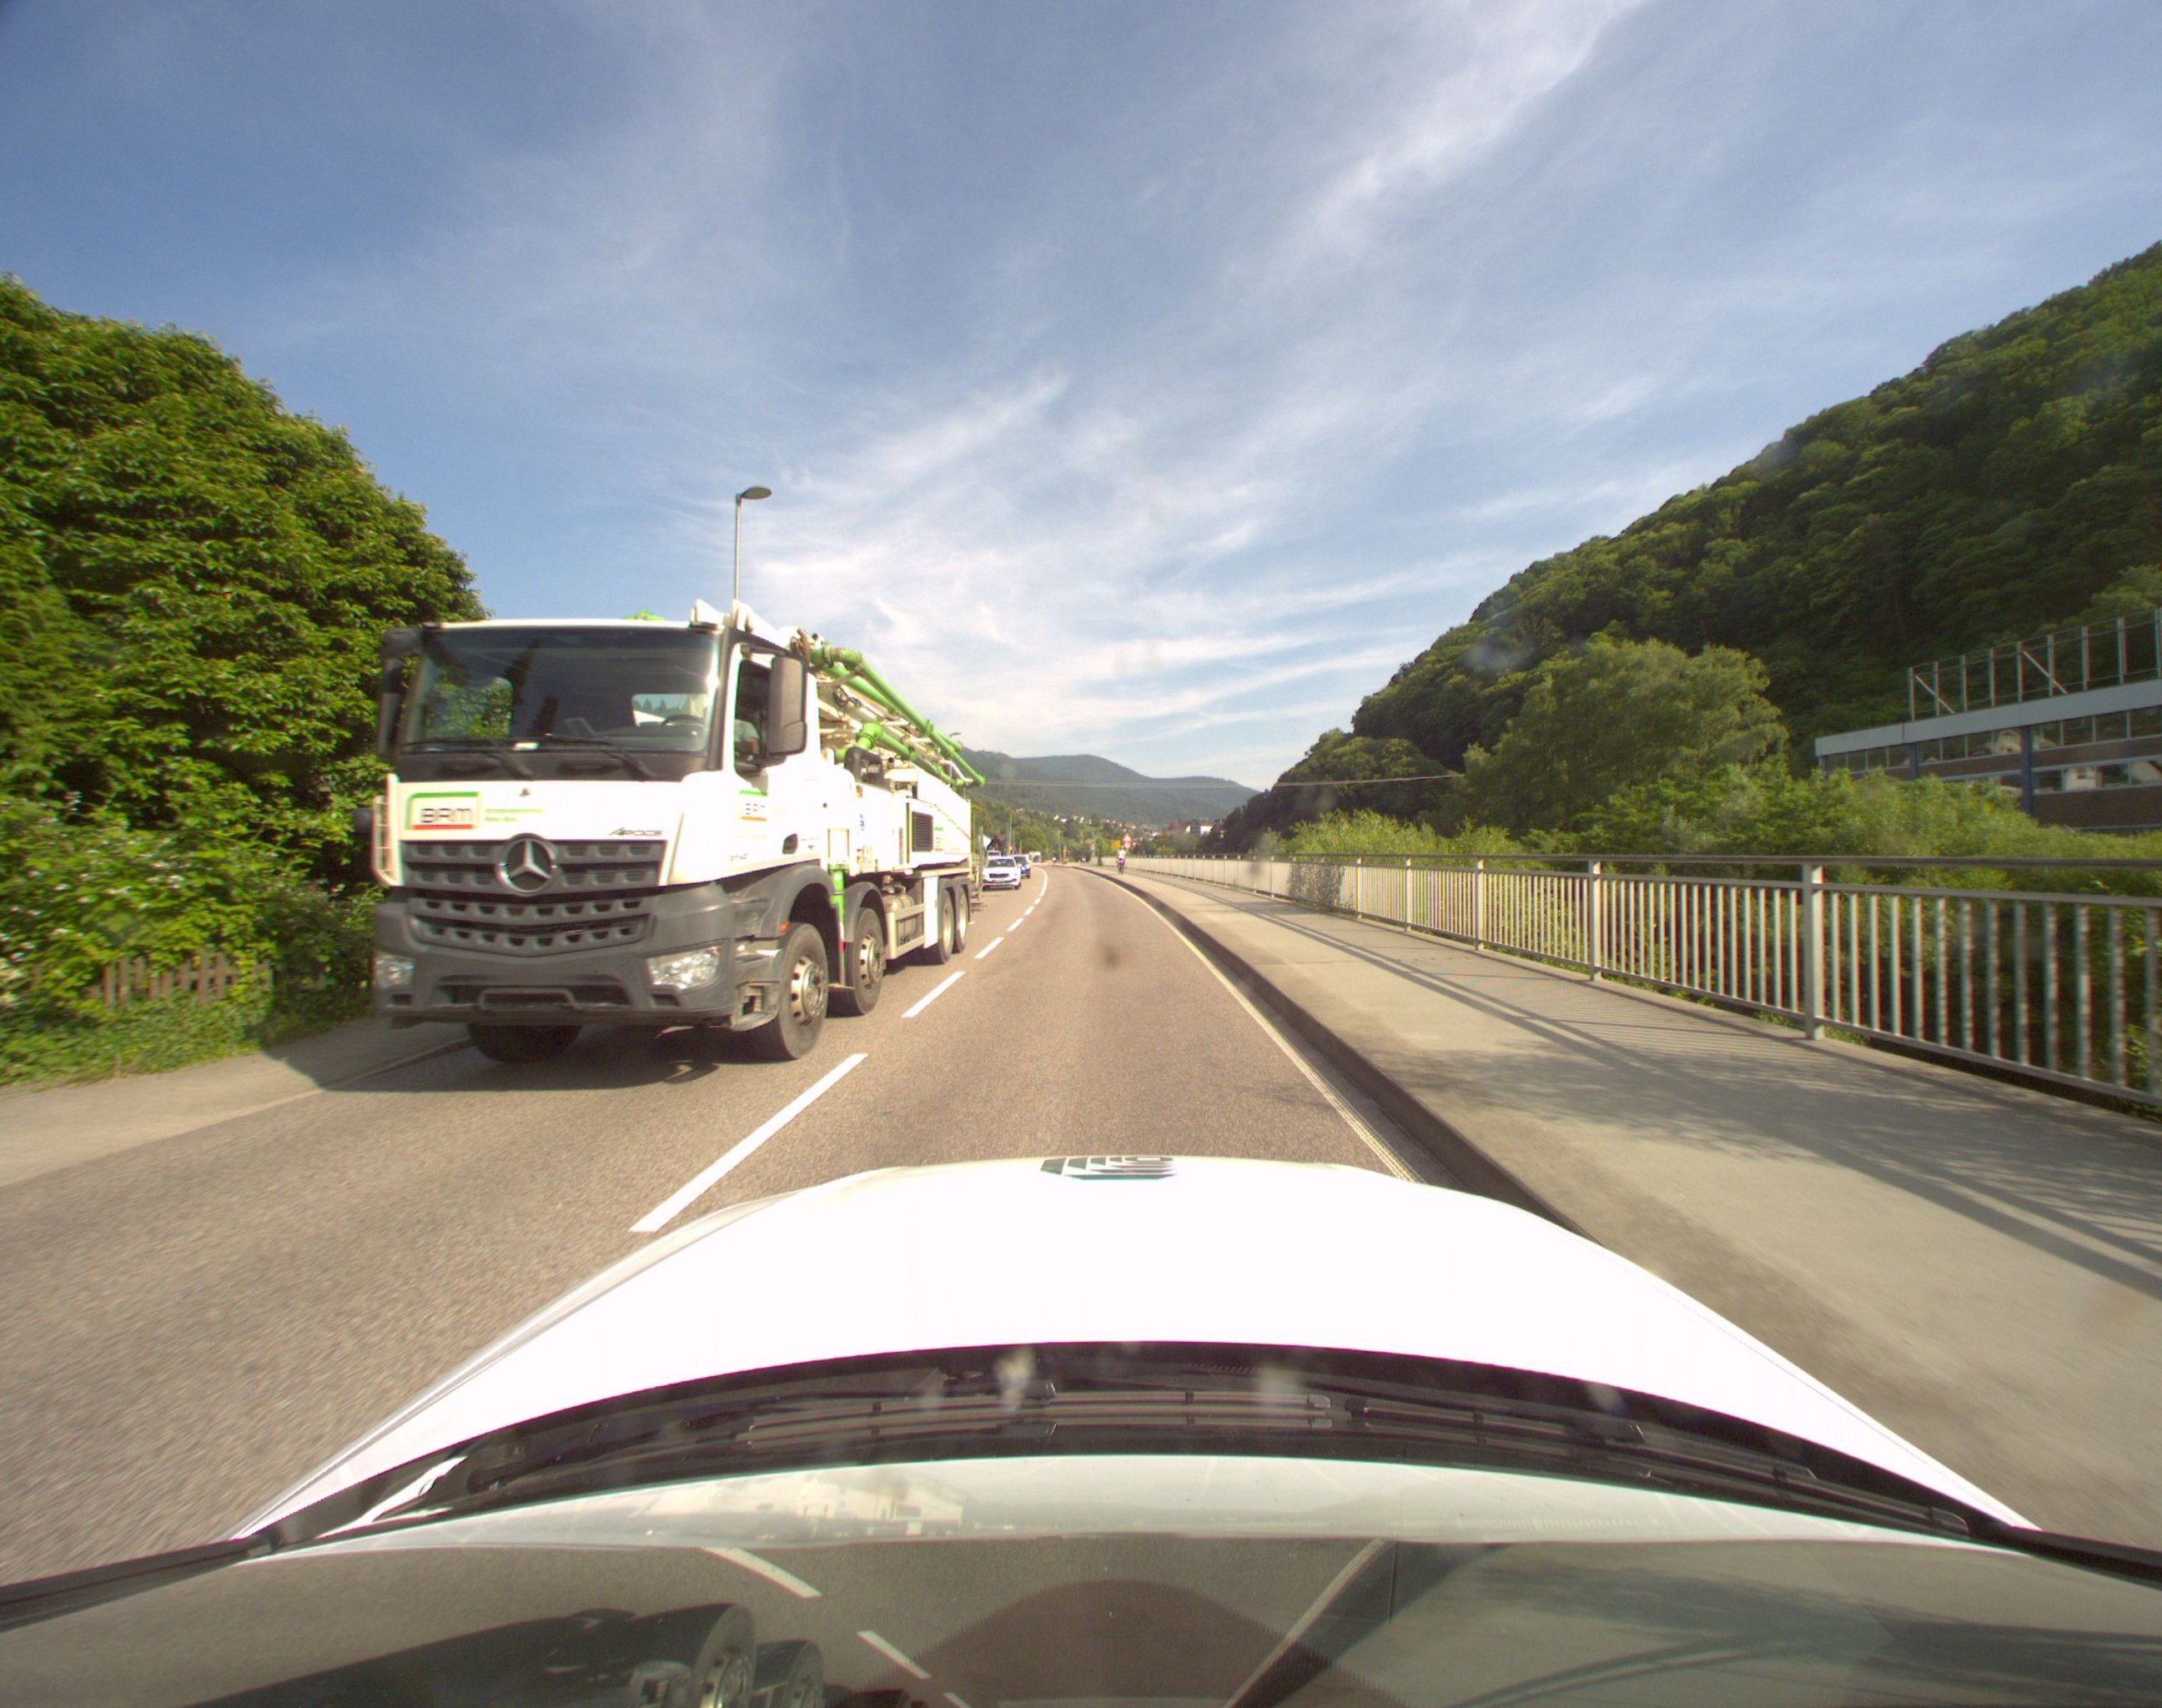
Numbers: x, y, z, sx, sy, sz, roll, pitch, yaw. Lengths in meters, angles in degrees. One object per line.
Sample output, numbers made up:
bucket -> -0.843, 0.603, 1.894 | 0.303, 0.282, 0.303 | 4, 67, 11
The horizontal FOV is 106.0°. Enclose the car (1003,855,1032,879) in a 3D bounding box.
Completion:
car -> -4.164, 0.808, 53.992 | 1.739, 1.526, 3.997 | 0, 0, -2

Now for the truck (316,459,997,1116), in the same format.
truck -> -3.168, -0.373, 10.583 | 2.568, 3.932, 11.310 | -1, 0, 2

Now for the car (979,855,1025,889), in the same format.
car -> -3.639, 0.808, 38.039 | 1.743, 1.504, 4.189 | 0, 0, 0
